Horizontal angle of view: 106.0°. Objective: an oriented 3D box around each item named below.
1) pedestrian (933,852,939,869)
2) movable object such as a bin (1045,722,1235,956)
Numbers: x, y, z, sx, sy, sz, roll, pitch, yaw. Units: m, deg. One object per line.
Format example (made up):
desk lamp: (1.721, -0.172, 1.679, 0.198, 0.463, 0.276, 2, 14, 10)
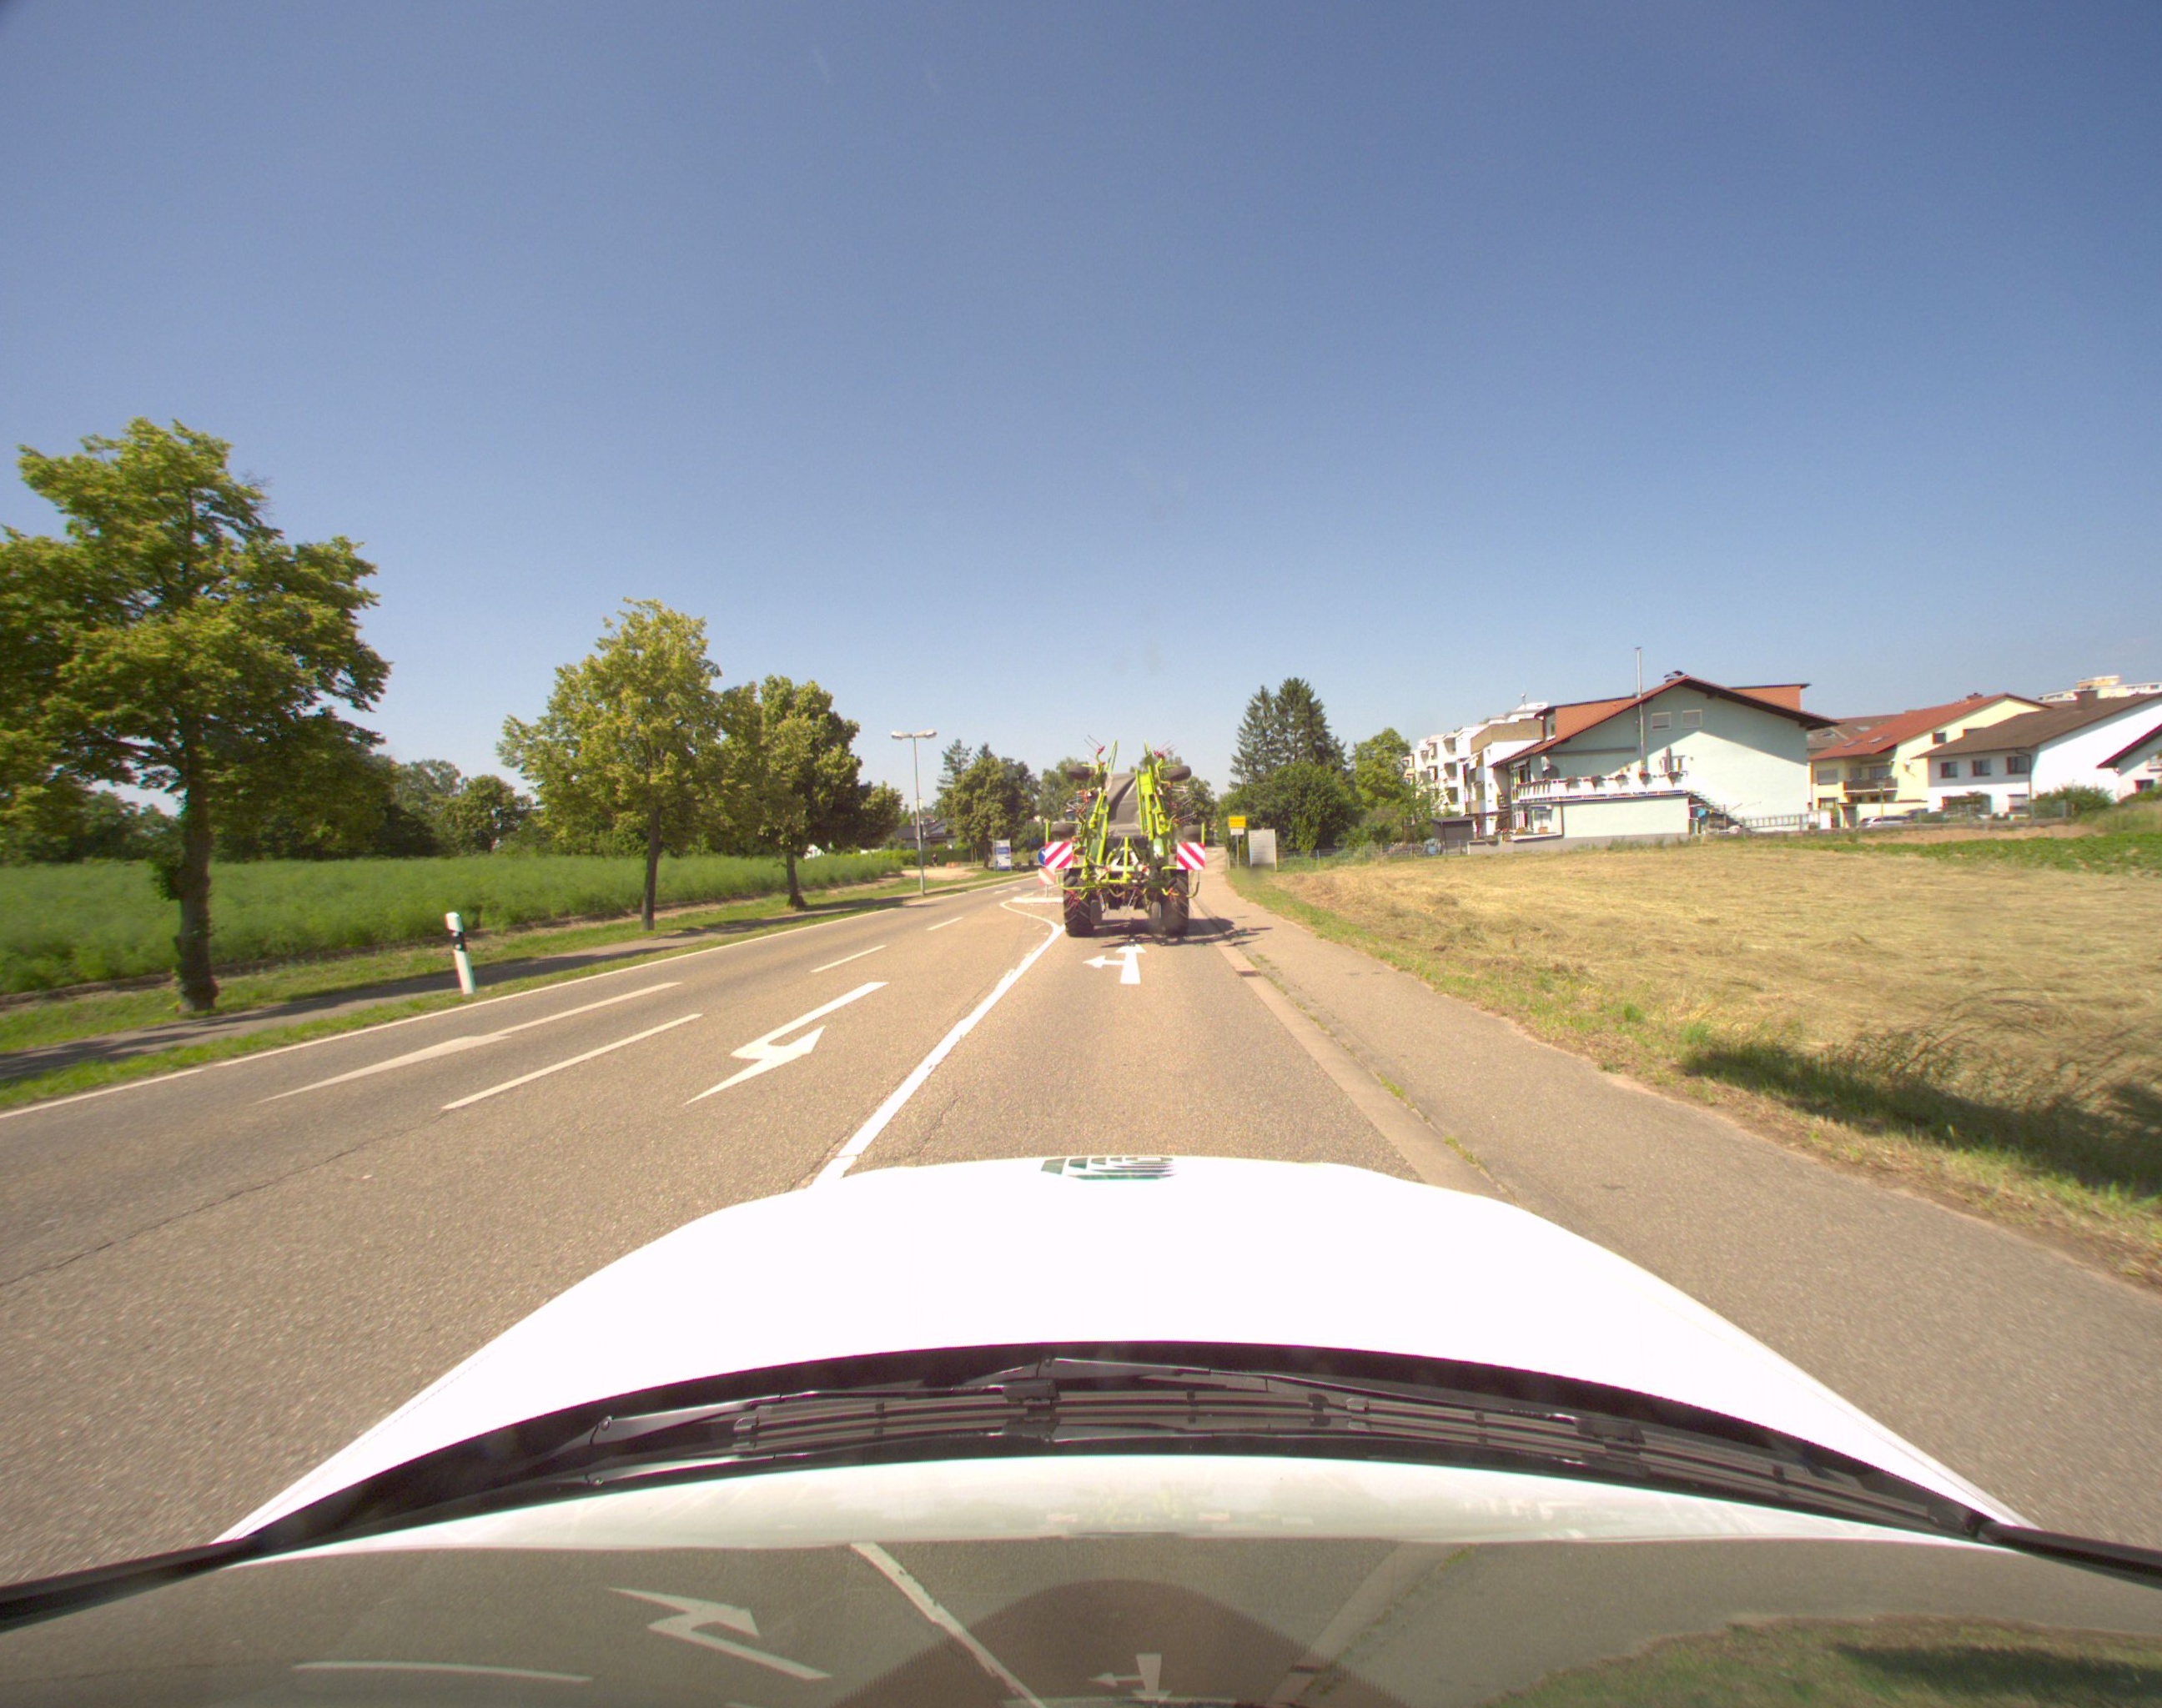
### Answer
pedestrian: (-14.783, 0.628, 83.117, 0.551, 1.717, 0.671, 0, -2, -20)
movable object such as a bin: (1.120, -0.265, 17.404, 2.841, 3.541, 9.707, -1, 0, 2)
